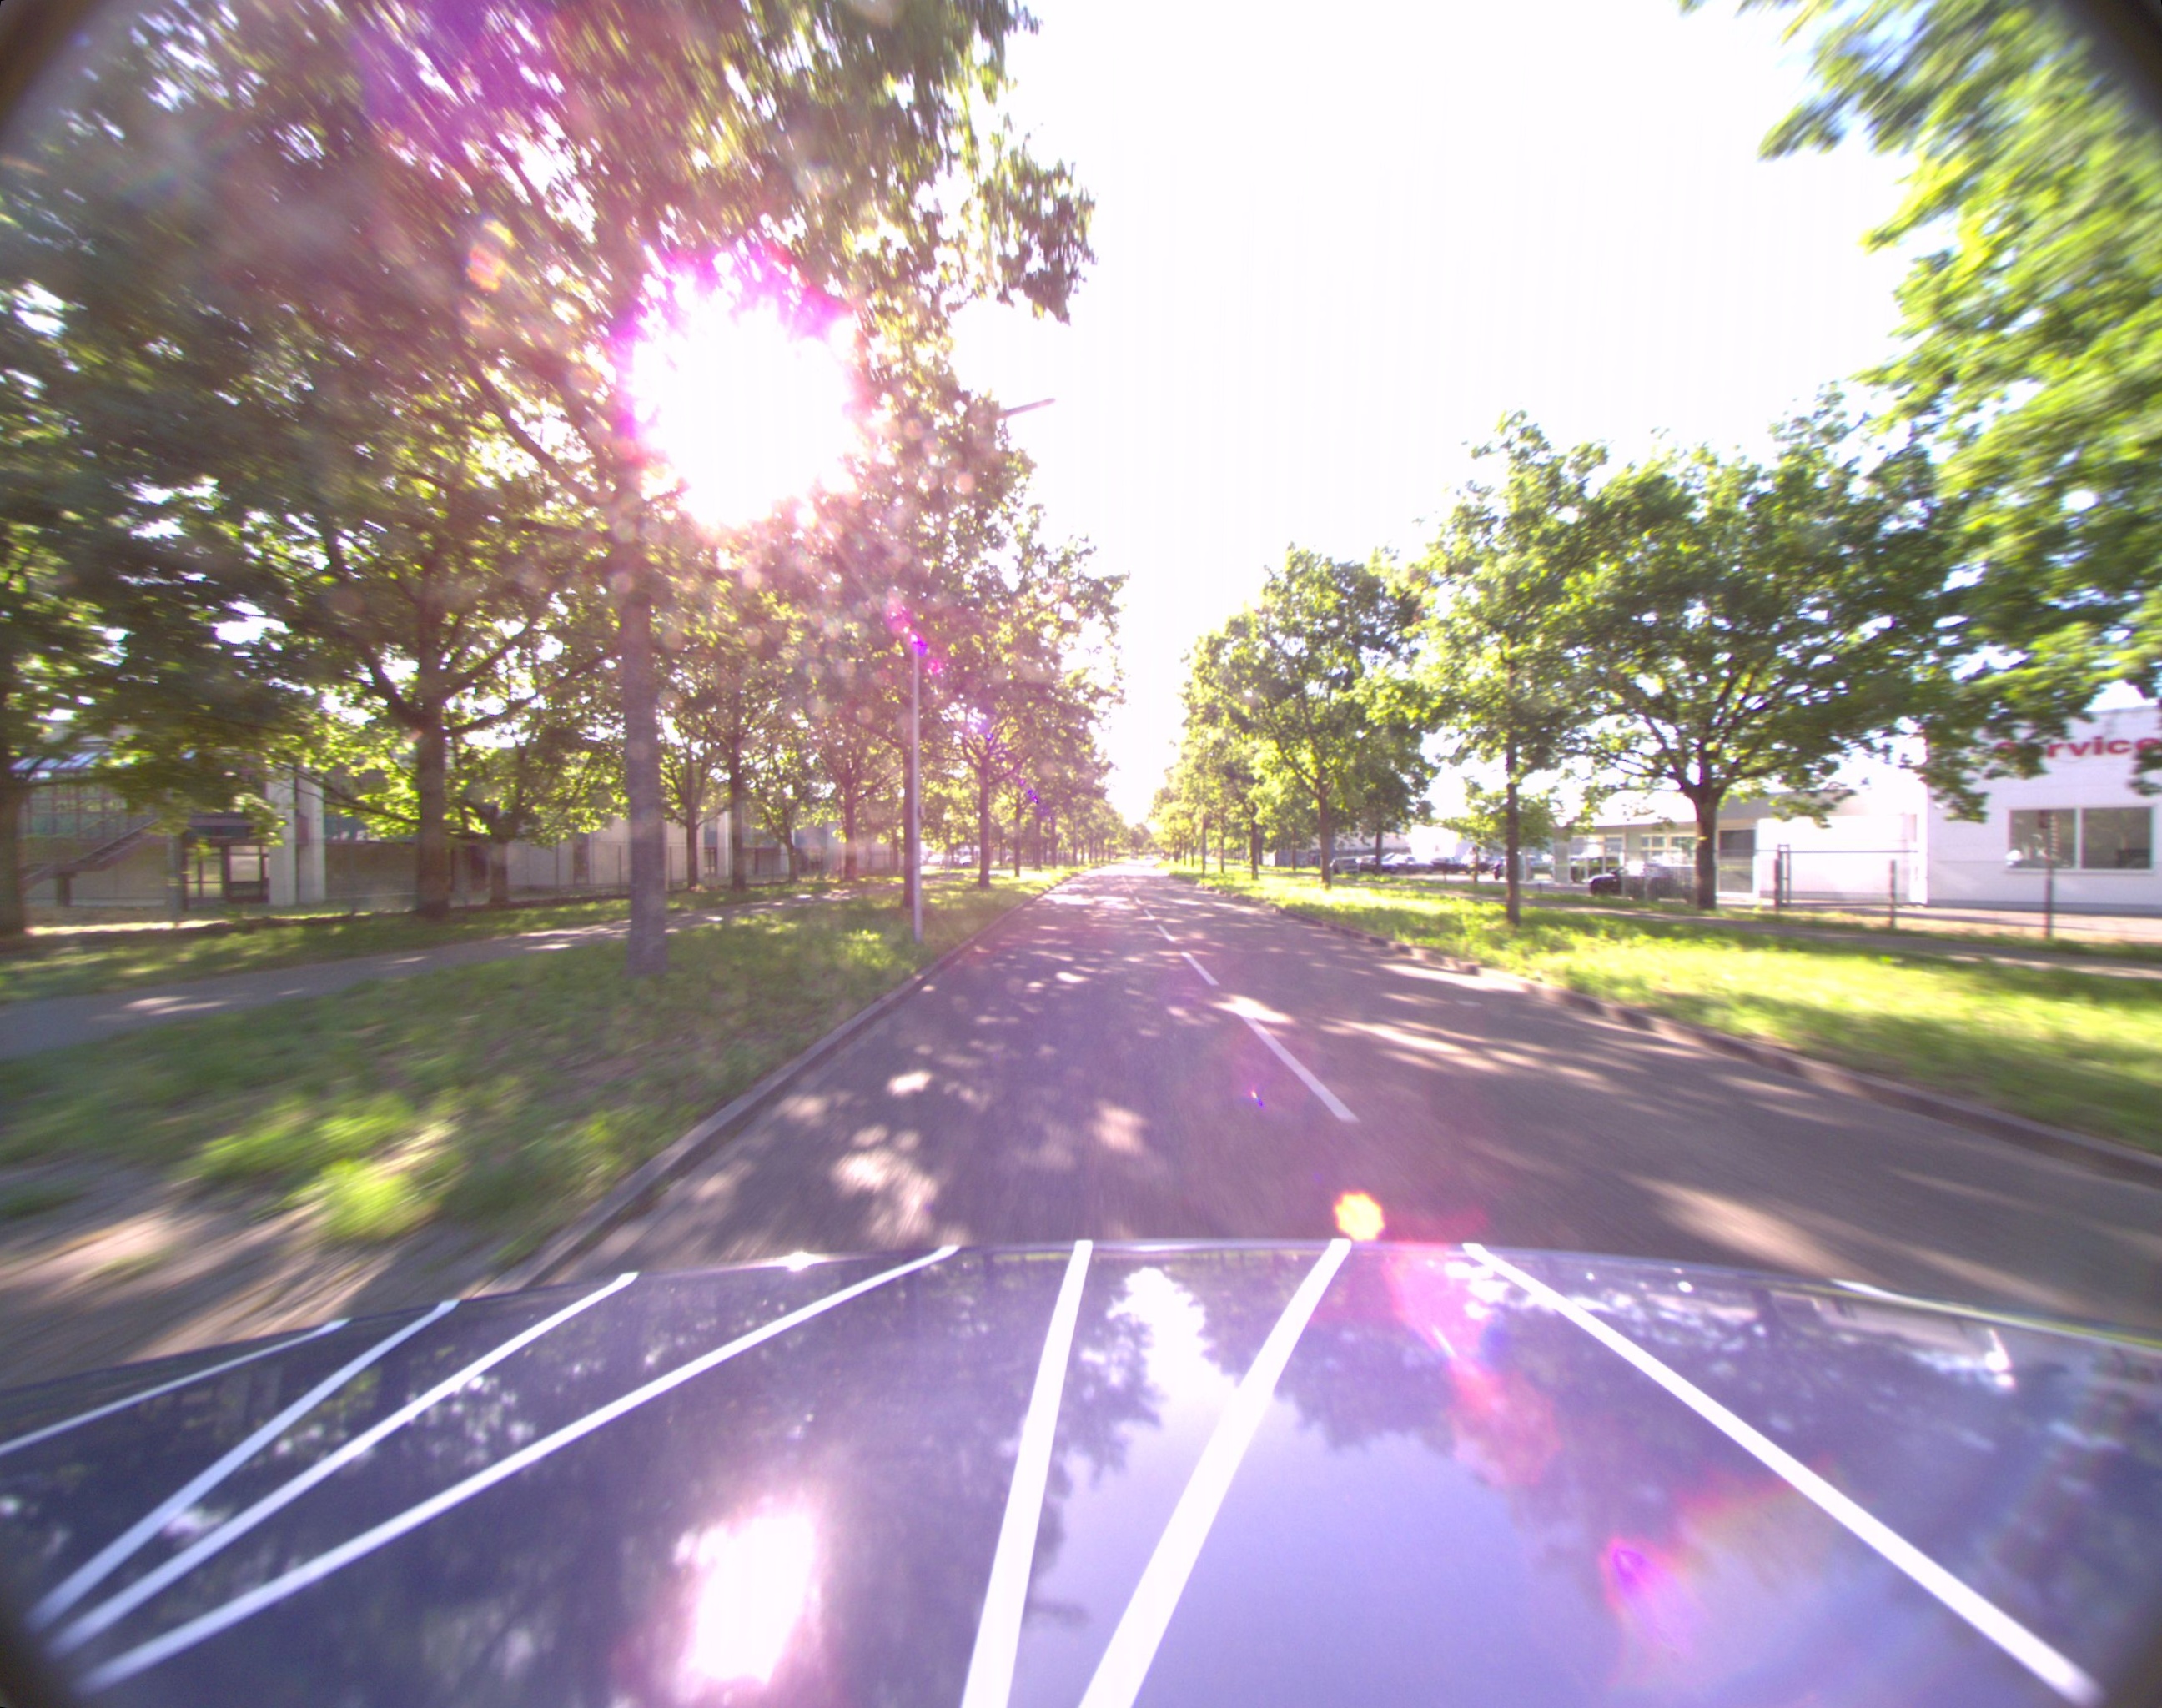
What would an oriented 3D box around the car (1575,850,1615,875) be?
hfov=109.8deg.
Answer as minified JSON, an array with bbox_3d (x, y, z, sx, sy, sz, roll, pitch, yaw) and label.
[{"bbox_3d":[36.085,0.617,53.448,1.995,1.651,5.020,-1,-1,31],"label":"car"}]

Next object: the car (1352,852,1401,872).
[{"bbox_3d":[26.914,0.693,69.304,2.000,1.665,4.494,-2,1,-12],"label":"car"}]

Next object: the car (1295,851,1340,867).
[{"bbox_3d":[25.330,0.569,81.434,4.320,1.510,1.862,-2,1,6],"label":"car"}]

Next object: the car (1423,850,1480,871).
[{"bbox_3d":[33.423,0.563,68.756,2.000,1.680,5.255,-2,1,-9],"label":"car"}]

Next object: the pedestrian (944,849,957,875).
[{"bbox_3d":[-8.270,0.502,48.241,0.609,1.621,0.719,2,0,4],"label":"pedestrian"}]

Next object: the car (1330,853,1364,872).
[{"bbox_3d":[21.056,0.671,60.126,2.569,1.461,1.427,0,1,20],"label":"car"}]

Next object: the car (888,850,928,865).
[{"bbox_3d":[-23.942,0.477,105.087,5.075,1.948,1.895,0,1,1],"label":"car"}]

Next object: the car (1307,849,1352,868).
[{"bbox_3d":[24.825,0.415,76.036,3.995,1.732,2.001,-2,1,7],"label":"car"}]

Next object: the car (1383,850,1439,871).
[{"bbox_3d":[29.935,0.552,69.162,2.000,1.707,5.254,-2,1,-11],"label":"car"}]

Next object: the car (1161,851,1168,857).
[{"bbox_3d":[23.583,0.046,214.497,1.771,1.663,4.200,1,1,5],"label":"car"}]

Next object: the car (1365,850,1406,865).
[{"bbox_3d":[35.070,0.377,87.524,3.995,1.510,1.752,-2,1,6],"label":"car"}]

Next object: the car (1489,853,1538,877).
[{"bbox_3d":[31.423,0.773,55.131,1.994,1.651,5.271,-2,-1,42],"label":"car"}]

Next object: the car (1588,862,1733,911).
[{"bbox_3d":[22.618,1.197,29.972,1.998,1.588,5.015,-2,1,2],"label":"car"}]
